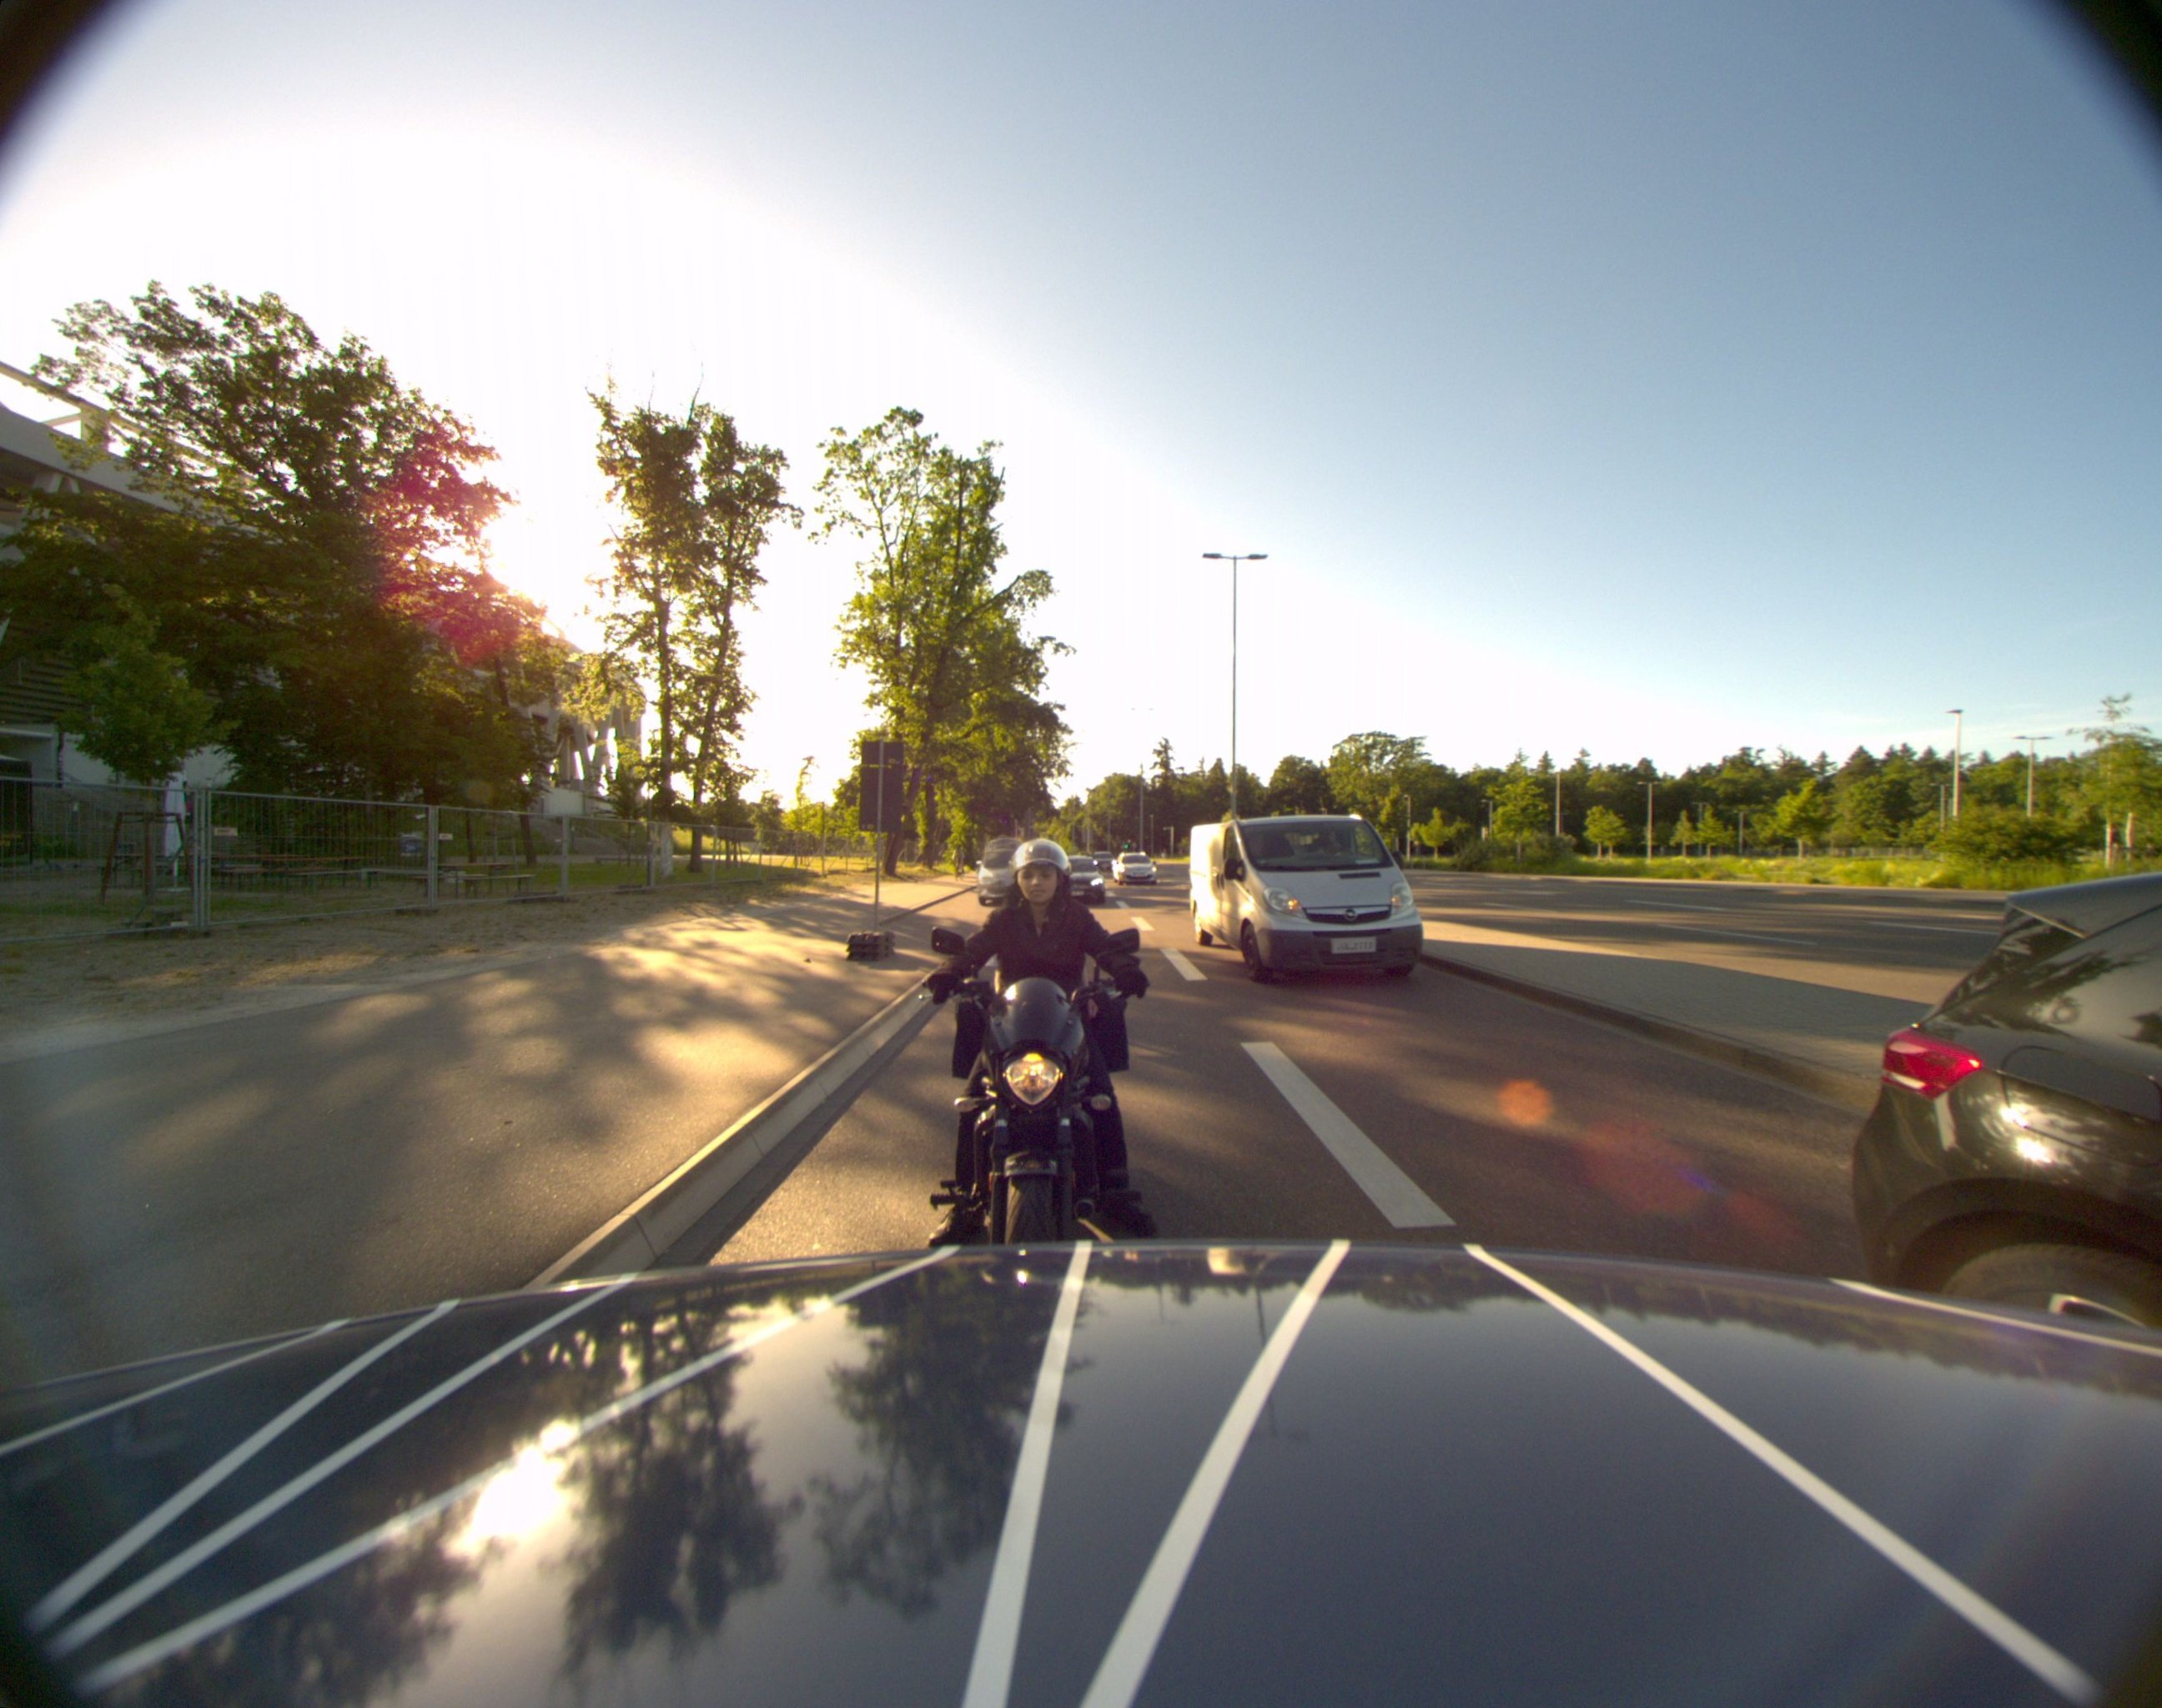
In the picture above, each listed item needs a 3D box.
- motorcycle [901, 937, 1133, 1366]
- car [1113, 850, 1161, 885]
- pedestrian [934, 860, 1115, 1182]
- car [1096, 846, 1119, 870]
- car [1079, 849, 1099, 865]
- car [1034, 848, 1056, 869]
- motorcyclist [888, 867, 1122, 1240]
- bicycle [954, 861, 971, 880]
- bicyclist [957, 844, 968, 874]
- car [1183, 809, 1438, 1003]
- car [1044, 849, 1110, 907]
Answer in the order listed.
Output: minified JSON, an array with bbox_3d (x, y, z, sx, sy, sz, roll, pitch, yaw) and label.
[{"bbox_3d":[-0.190,1.124,3.838,0.717,1.058,2.721,-2,1,1],"label":"motorcycle"},{"bbox_3d":[2.656,0.607,36.917,1.883,1.514,5.048,-2,0,0],"label":"car"},{"bbox_3d":[-0.242,0.739,3.582,0.739,1.387,0.500,-2,1,1],"label":"pedestrian"},{"bbox_3d":[1.992,0.293,58.266,1.638,1.674,3.999,-2,1,1],"label":"car"},{"bbox_3d":[0.795,0.301,79.131,1.883,1.629,5.048,-2,0,0],"label":"car"},{"bbox_3d":[-3.497,0.406,74.116,1.774,1.849,3.999,-2,1,1],"label":"car"},{"bbox_3d":[-0.280,0.759,3.089,0.822,1.367,0.476,-2,1,1],"label":"motorcyclist"},{"bbox_3d":[-5.751,0.787,36.820,0.481,0.854,1.909,0,1,1],"label":"bicycle"},{"bbox_3d":[-5.742,0.231,36.793,0.451,1.412,0.575,0,1,0],"label":"bicyclist"},{"bbox_3d":[2.726,0.542,10.420,1.883,1.951,5.048,-2,0,0],"label":"car"},{"bbox_3d":[-0.125,0.713,25.040,1.883,1.629,5.048,-2,0,0],"label":"car"}]
